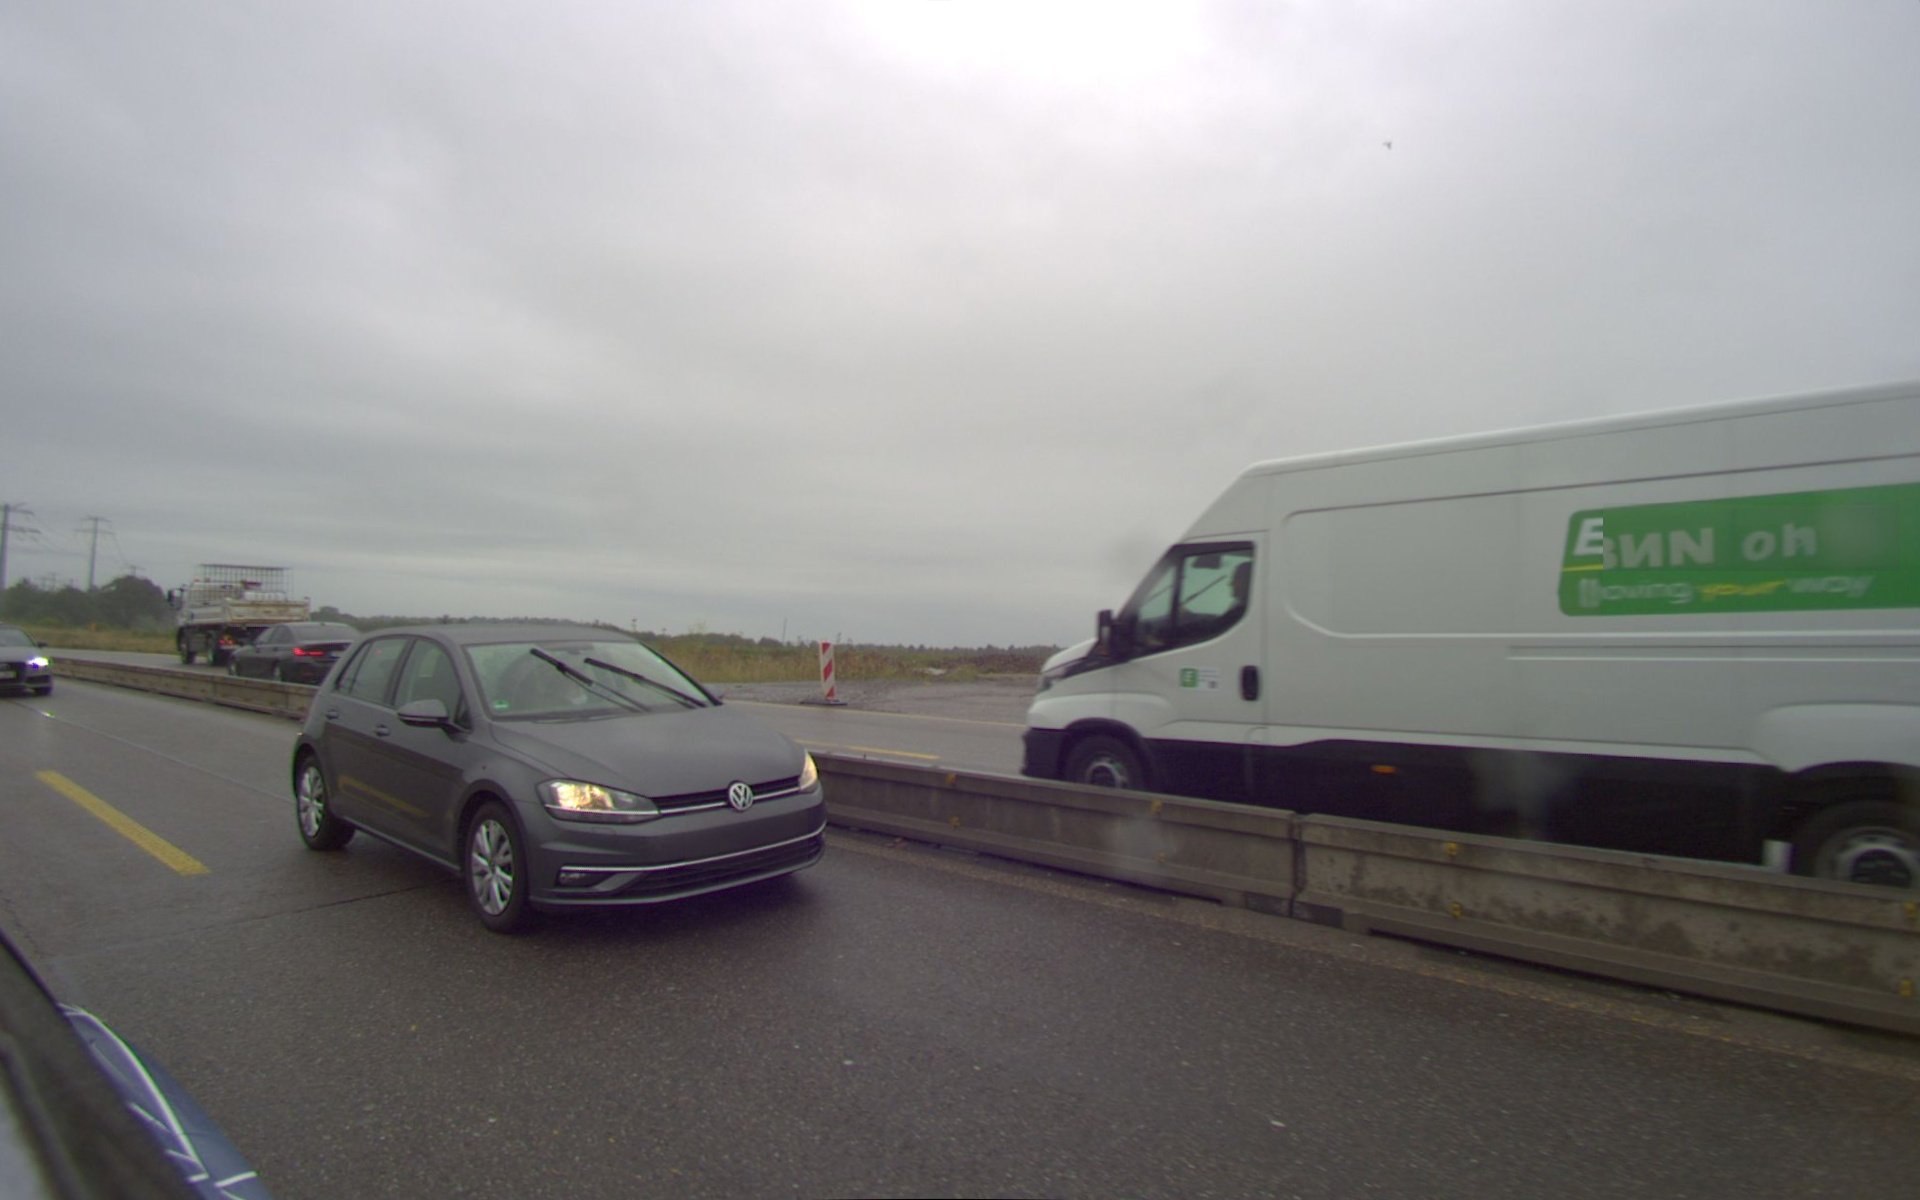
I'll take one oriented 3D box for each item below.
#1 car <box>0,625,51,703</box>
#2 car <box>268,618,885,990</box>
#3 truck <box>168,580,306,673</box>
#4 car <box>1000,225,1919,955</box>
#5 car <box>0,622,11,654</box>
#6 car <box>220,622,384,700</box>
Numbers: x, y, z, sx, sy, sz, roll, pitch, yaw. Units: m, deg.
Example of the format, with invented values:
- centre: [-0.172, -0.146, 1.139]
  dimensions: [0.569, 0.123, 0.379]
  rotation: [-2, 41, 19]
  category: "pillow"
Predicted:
- centre: [-19.907, 1.251, 20.389]
  dimensions: [4.265, 1.407, 1.777]
  rotation: [0, 0, 40]
  category: "car"
- centre: [-2.465, 0.843, 5.961]
  dimensions: [4.077, 1.433, 1.633]
  rotation: [0, -1, 40]
  category: "car"
- centre: [-24.992, 0.919, 34.857]
  dimensions: [6.545, 2.916, 2.334]
  rotation: [-1, -3, 41]
  category: "truck"
- centre: [3.650, -0.021, 5.906]
  dimensions: [7.167, 3.068, 1.973]
  rotation: [-1, -1, 41]
  category: "car"
- centre: [-43.502, 1.680, 44.928]
  dimensions: [3.590, 1.407, 1.621]
  rotation: [-1, 0, 40]
  category: "car"
- centre: [-14.243, 1.226, 21.795]
  dimensions: [4.747, 1.506, 1.729]
  rotation: [-1, -1, 41]
  category: "car"
